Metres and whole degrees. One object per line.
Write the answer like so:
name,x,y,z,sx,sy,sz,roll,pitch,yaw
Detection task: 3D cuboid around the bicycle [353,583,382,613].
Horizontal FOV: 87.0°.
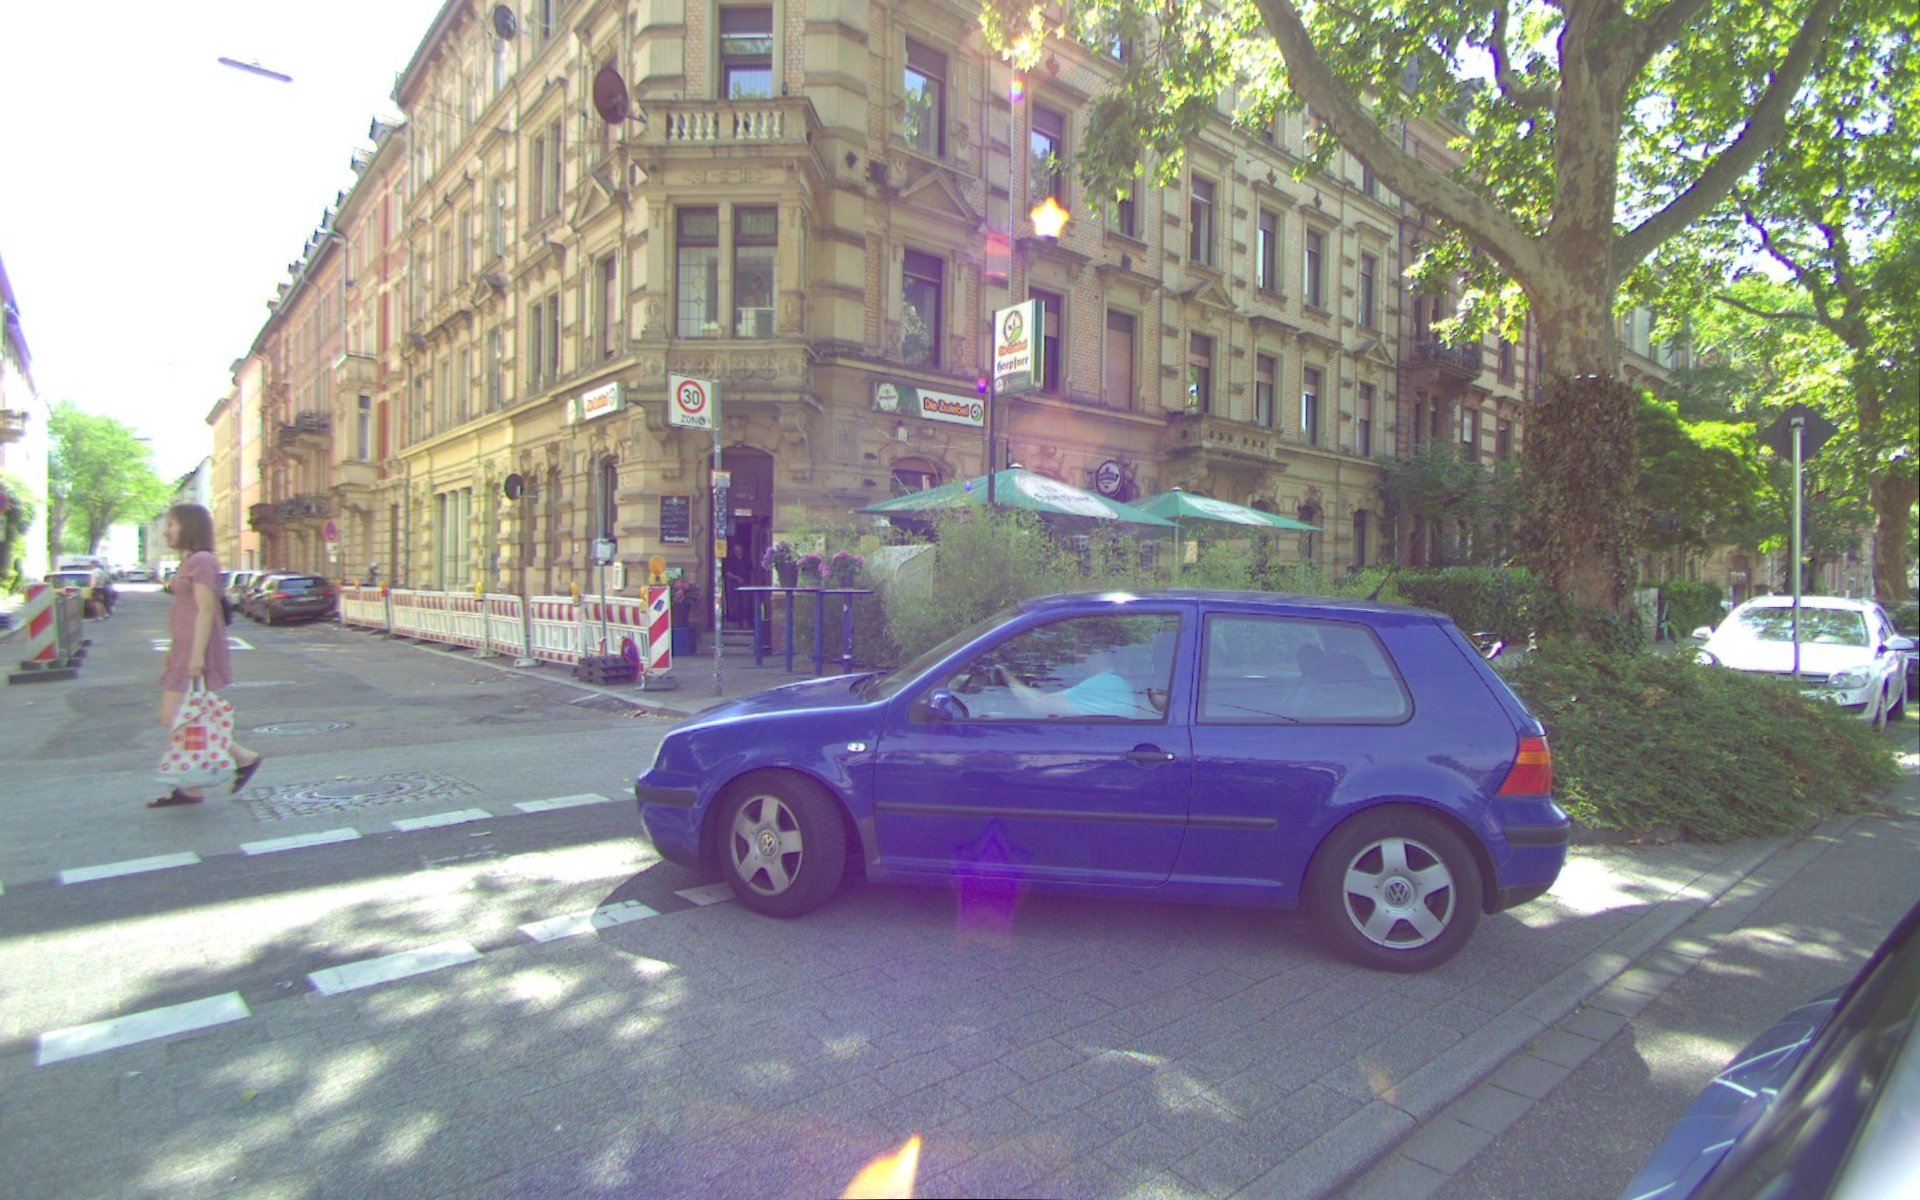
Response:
bicycle,-19.725,-0.074,33.683,0.530,0.991,1.306,0,1,-44

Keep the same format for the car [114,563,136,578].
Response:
car,-104.170,-3.685,126.232,1.965,1.760,3.995,0,1,-41

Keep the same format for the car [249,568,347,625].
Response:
car,-19.885,-0.147,30.336,1.965,1.571,3.995,0,1,-41

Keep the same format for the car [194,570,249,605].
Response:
car,-38.152,-0.675,52.249,1.965,1.760,3.994,0,1,-41

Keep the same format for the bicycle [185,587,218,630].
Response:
bicycle,-20.184,0.212,26.931,0.523,1.062,1.922,0,1,-42

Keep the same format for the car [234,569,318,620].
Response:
car,-23.803,-0.221,35.166,1.965,1.660,3.994,0,1,-41

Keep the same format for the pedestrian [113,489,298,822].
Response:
pedestrian,-4.512,0.292,6.050,0.837,1.807,0.737,0,1,-41

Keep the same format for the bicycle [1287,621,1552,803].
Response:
bicycle,2.999,0.709,6.634,1.583,1.119,0.423,1,1,-8

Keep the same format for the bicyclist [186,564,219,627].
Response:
bicyclist,-20.066,-0.117,26.803,0.614,1.643,0.693,0,1,-43

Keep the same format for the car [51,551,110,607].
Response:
car,-39.930,-0.966,46.037,1.879,2.403,4.243,0,1,-39

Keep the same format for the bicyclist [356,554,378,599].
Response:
bicyclist,-19.756,-0.776,33.719,0.524,1.471,0.460,0,1,-43

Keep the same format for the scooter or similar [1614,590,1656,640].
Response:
scooter or similar,17.348,0.375,26.006,1.124,1.263,0.583,0,1,-40

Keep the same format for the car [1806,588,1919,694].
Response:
car,15.507,0.590,16.530,4.561,1.527,1.837,0,2,-40

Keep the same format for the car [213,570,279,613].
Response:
car,-30.481,-0.391,43.157,1.965,1.760,3.994,0,1,-41

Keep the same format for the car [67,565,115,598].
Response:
car,-47.086,-1.033,54.895,1.879,1.731,4.158,0,1,-39

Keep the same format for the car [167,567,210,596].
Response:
car,-49.460,-1.205,64.860,1.965,1.760,3.994,0,1,-41

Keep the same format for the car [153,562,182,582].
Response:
car,-74.144,-2.630,94.627,1.965,1.760,3.994,0,1,-41

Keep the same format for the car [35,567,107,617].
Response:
car,-29.144,-0.285,33.207,1.698,1.548,3.489,0,1,-41

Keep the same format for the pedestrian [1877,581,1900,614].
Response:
pedestrian,49.430,-0.145,53.869,0.951,1.740,0.796,0,1,-41

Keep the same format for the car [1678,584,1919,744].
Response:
car,10.167,0.599,12.075,4.418,1.527,1.835,0,2,-44

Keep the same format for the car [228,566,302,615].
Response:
car,-26.803,-0.393,38.993,1.965,1.760,3.994,0,1,-41

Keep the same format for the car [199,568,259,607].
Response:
car,-34.720,-0.600,48.035,1.965,1.760,3.994,0,1,-41

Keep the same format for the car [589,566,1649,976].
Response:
car,0.578,0.585,4.844,4.024,1.427,1.884,1,1,8

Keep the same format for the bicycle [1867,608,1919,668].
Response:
bicycle,18.376,0.726,19.228,1.615,1.102,0.469,1,1,17

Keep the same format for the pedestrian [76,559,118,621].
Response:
pedestrian,-25.996,-0.306,30.484,0.921,1.821,1.036,0,1,-44

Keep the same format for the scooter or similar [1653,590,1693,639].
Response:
scooter or similar,19.471,0.380,27.638,1.124,1.298,0.583,0,1,-39
